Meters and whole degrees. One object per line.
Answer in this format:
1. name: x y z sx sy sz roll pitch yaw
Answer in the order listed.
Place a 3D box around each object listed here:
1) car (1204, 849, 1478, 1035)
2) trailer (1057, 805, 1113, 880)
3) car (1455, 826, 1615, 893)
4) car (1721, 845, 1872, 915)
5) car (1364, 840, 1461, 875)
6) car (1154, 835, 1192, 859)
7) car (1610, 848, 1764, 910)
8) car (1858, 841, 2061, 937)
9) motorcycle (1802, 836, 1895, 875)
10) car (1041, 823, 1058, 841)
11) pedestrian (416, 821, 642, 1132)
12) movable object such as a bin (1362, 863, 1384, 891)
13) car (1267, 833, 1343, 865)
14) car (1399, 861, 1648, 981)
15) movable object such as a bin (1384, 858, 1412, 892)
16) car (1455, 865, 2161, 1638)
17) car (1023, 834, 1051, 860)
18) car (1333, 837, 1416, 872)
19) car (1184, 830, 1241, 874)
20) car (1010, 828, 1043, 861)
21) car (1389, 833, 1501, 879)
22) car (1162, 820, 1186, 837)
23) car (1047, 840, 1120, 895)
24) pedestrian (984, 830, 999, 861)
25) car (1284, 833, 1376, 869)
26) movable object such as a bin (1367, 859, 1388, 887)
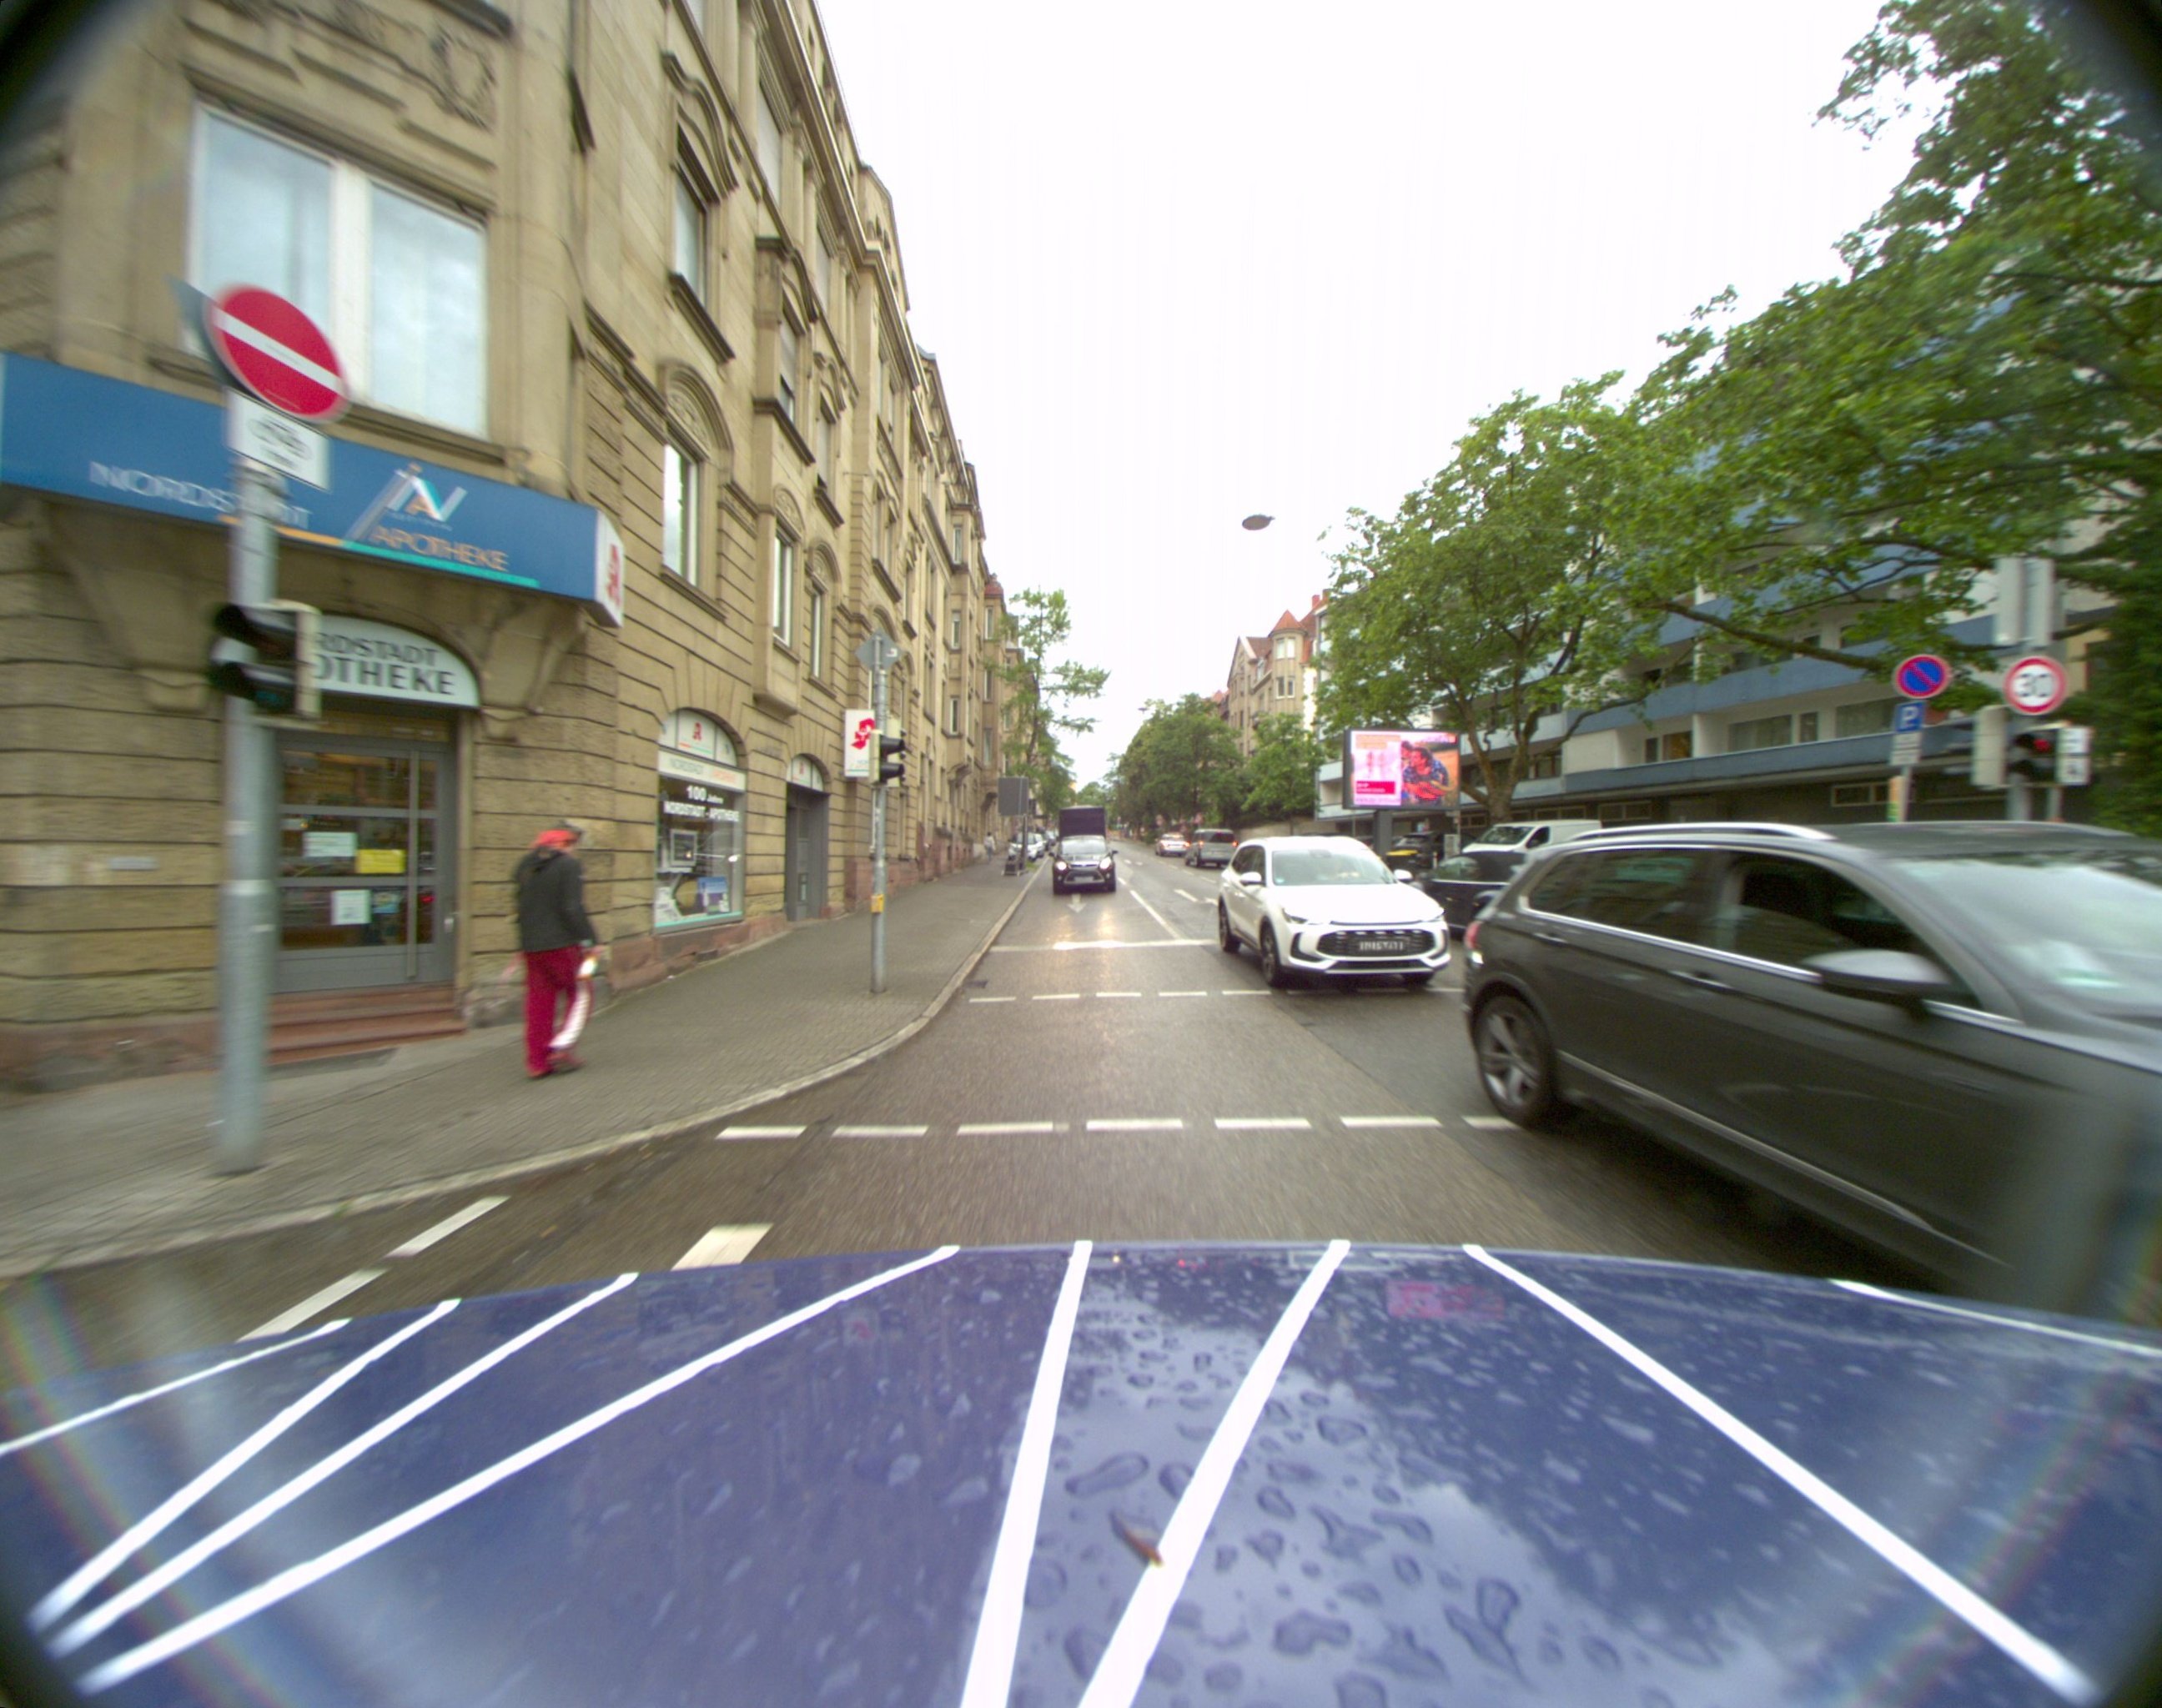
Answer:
1. car: 2.834 0.817 9.394 1.757 1.635 4.376 -1 2 -2
2. trailer: 0.176 -0.439 29.223 1.938 2.622 4.683 -1 1 1
3. car: 15.141 0.120 25.346 4.981 1.966 1.876 -2 2 -21
4. car: 17.052 0.545 18.097 3.627 1.408 1.627 -2 2 -30
5. car: 14.647 0.116 33.579 3.840 1.398 1.688 -1 2 -22
6. car: 5.980 -0.480 49.840 1.731 1.440 4.323 3 2 -2
7. car: 16.258 0.598 20.383 3.710 1.408 1.808 -2 2 -26
8. car: 18.062 0.597 15.600 4.222 1.633 1.936 -2 2 -30
9. motorcycle: 23.879 0.019 23.689 0.704 1.161 1.958 -1 2 -11
10. car: -3.212 -2.275 78.218 1.547 1.700 3.761 4 2 -1
11. pedestrian: -3.773 0.755 5.298 0.699 1.938 1.091 1 1 7
12. movable object such as a bin: 9.860 0.780 25.662 0.485 0.896 0.546 -1 2 -4
13. car: 12.183 -0.311 41.292 3.841 1.523 1.766 -4 3 -28
14. car: 6.820 0.939 12.235 1.718 1.488 3.681 2 1 -2
15. movable object such as a bin: 10.544 0.684 25.257 0.643 1.073 0.627 -1 2 -4
16. car: 3.206 0.882 2.550 1.756 1.635 4.212 -1 0 -1
17. car: -2.764 -0.490 48.600 1.547 1.478 3.761 4 2 -1
18. car: 13.955 -0.026 36.107 3.841 1.398 1.676 -4 4 -31
19. car: 6.171 -0.158 36.234 1.818 1.871 4.240 3 2 -1
20. car: -2.995 -0.563 42.481 1.526 1.609 3.491 4 3 -1
21. car: 14.533 0.036 30.372 3.839 1.680 1.803 -1 3 -19
22. car: 8.457 -2.323 69.548 1.752 1.498 3.885 3 2 1
23. car: 0.151 0.340 22.905 1.861 1.504 3.683 1 1 5
24. pedestrian: -4.413 -0.430 37.474 0.645 1.489 0.690 3 5 -1
25. car: 12.489 -0.207 38.075 4.317 1.584 1.807 -3 3 -25
26. movable object such as a bin: 10.436 0.660 26.754 0.485 0.959 0.511 -1 2 -4
